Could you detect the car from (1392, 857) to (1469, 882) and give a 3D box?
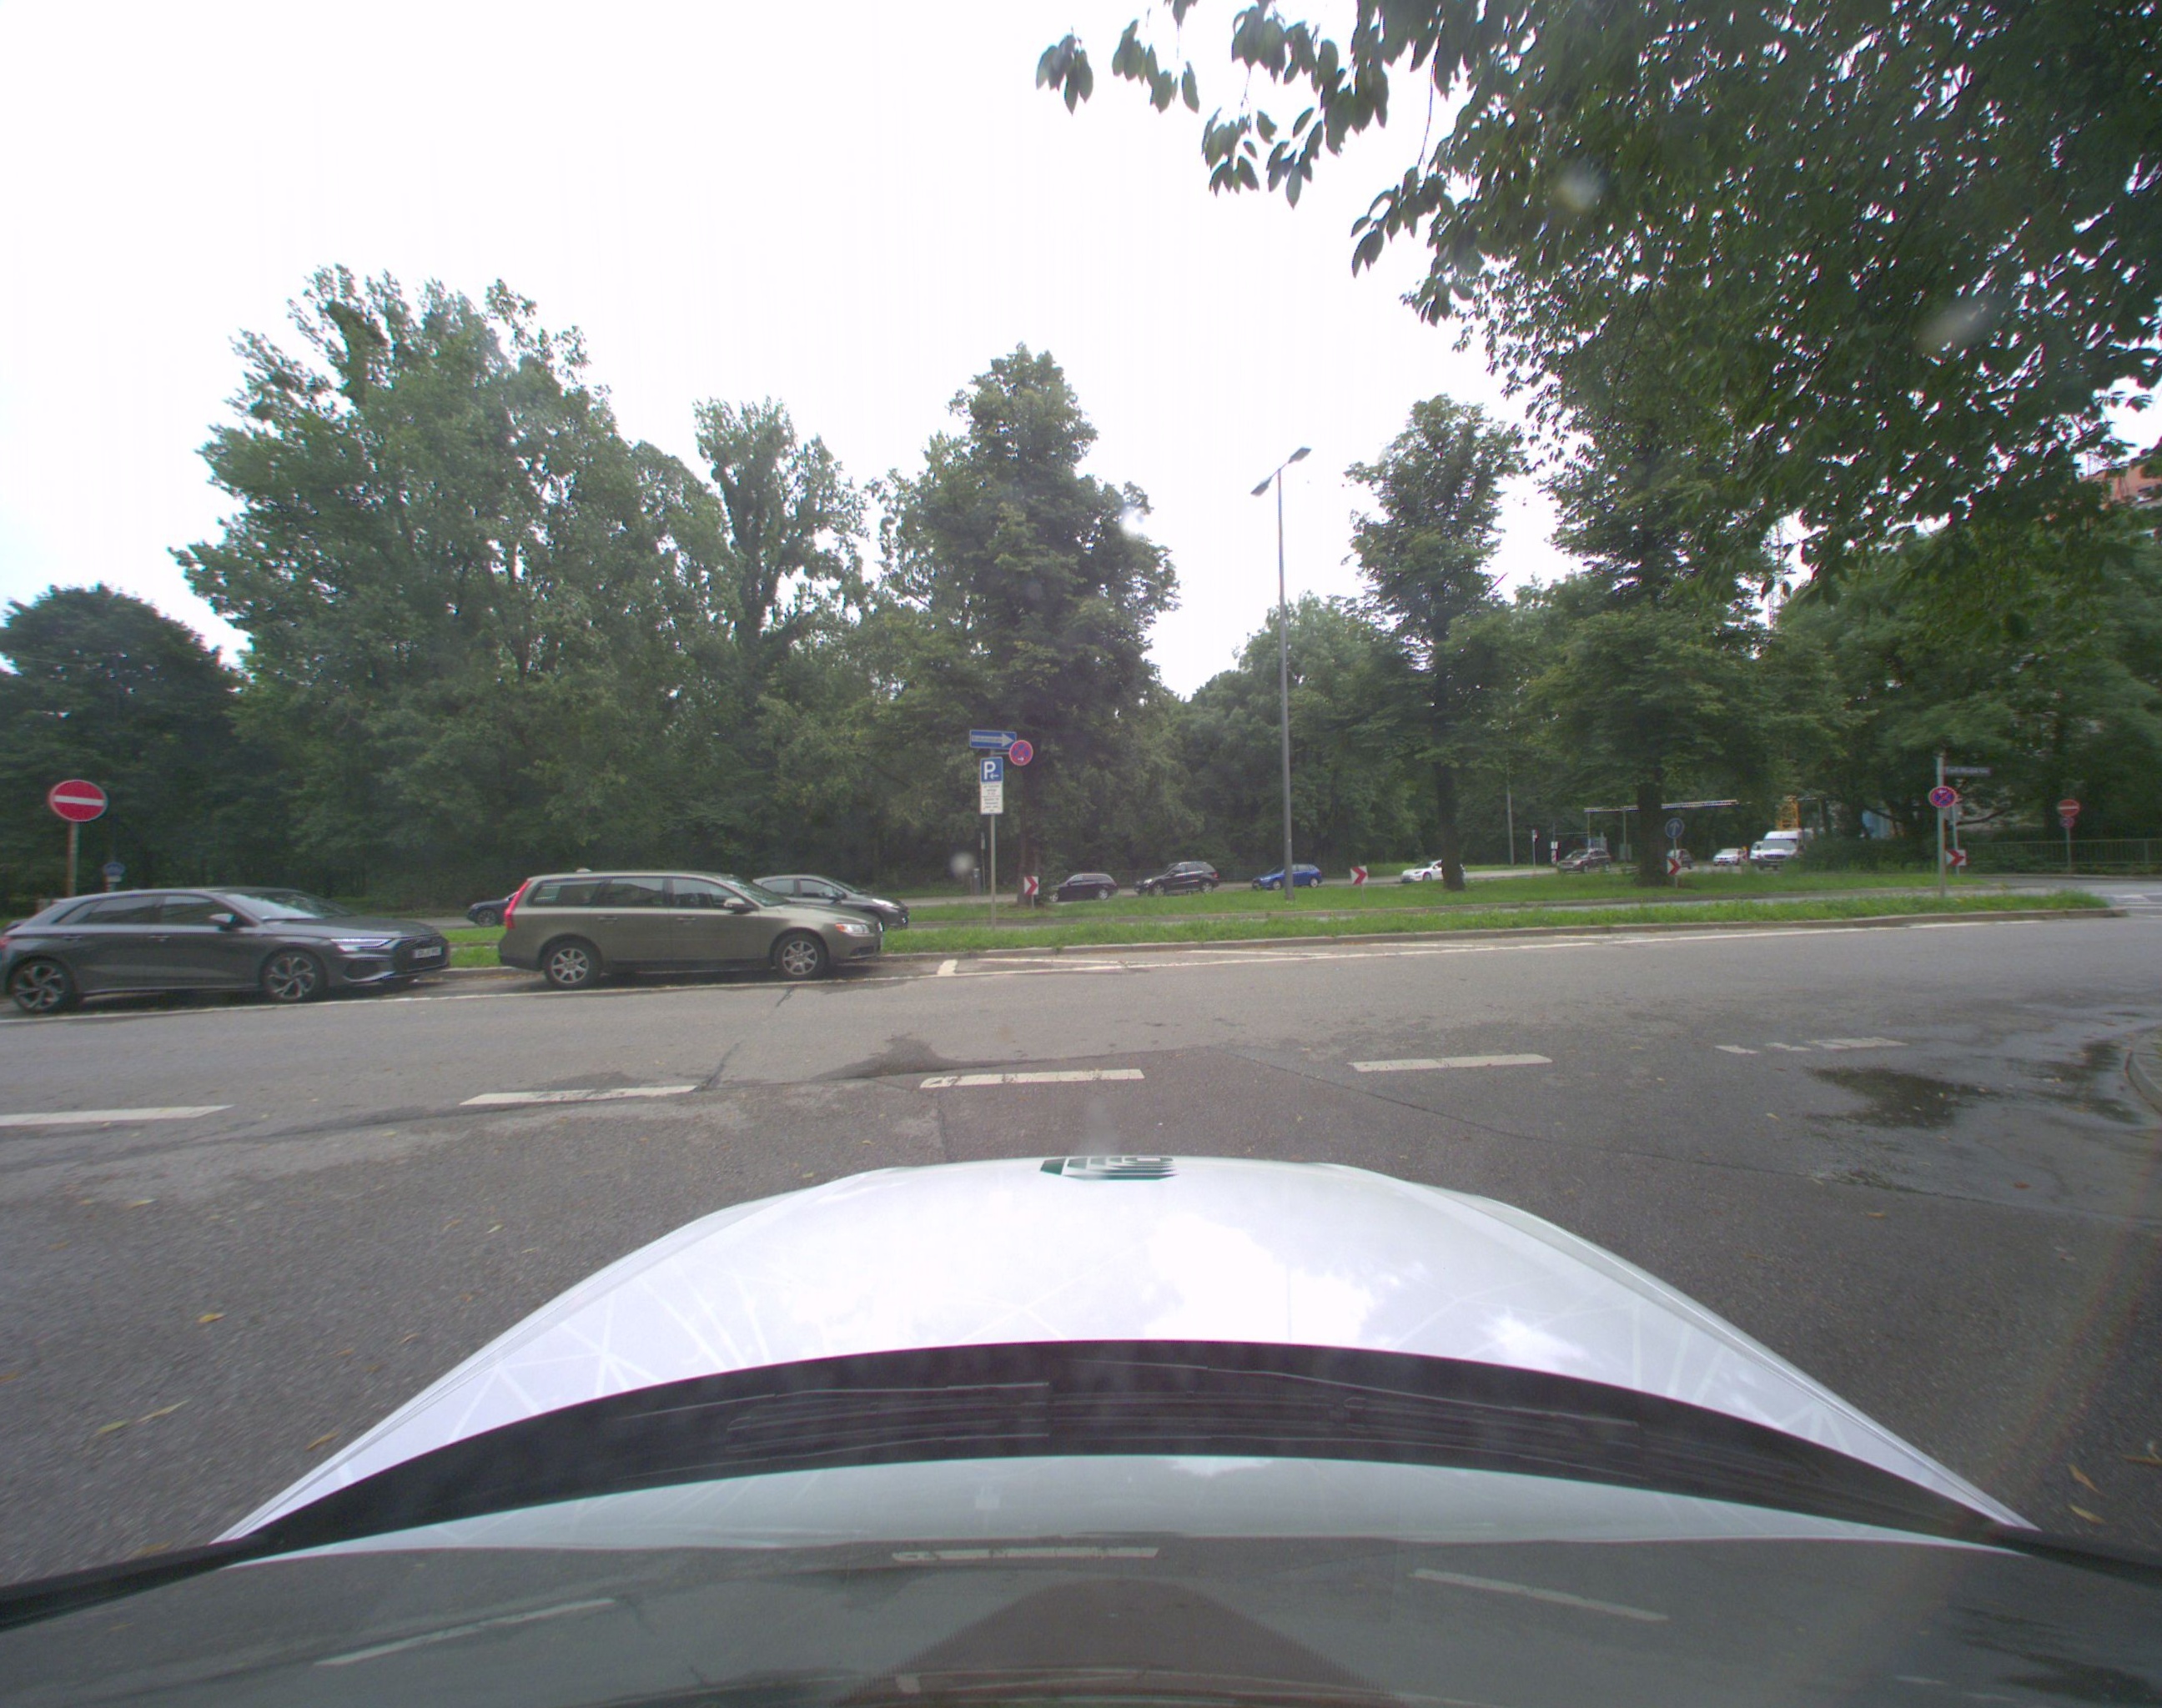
[{"bbox_3d":[22.265,0.990,51.871,4.430,1.447,1.984,-1,-2,-25],"label":"car"}]

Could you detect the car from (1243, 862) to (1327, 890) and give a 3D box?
[{"bbox_3d":[11.879,1.283,47.369,4.430,1.447,1.984,-1,-2,-25],"label":"car"}]

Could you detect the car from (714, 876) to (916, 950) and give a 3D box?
[{"bbox_3d":[-5.878,1.279,18.430,4.058,1.461,1.759,-1,-1,-8],"label":"car"}]

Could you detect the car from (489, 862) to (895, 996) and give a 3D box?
[{"bbox_3d":[-5.146,0.954,11.434,4.752,1.565,1.899,-1,-1,-8],"label":"car"}]

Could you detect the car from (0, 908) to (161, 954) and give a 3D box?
[{"bbox_3d":[-37.328,2.824,29.869,4.315,1.447,1.988,-1,-2,-18],"label":"car"}]

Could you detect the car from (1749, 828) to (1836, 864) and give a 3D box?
[{"bbox_3d":[46.688,-0.532,53.439,5.136,2.270,2.289,-1,-1,-25],"label":"car"}]

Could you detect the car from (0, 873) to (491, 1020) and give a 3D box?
[{"bbox_3d":[-10.498,1.078,10.455,4.266,1.565,1.988,-1,-1,-8],"label":"car"}]

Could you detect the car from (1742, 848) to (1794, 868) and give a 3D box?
[{"bbox_3d":[53.866,0.288,63.820,4.315,1.446,1.878,-1,-2,-32],"label":"car"}]

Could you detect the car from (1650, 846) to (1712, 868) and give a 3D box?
[{"bbox_3d":[43.278,0.236,58.737,4.039,1.446,1.882,-1,-1,-25],"label":"car"}]

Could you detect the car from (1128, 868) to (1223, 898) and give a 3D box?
[{"bbox_3d":[5.152,1.581,44.346,4.774,1.447,1.984,-1,-2,-24],"label":"car"}]

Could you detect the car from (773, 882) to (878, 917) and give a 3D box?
[{"bbox_3d":[-11.798,2.076,37.760,4.522,1.447,1.988,-1,-2,-17],"label":"car"}]

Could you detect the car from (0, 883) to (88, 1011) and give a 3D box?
[{"bbox_3d":[-15.430,1.199,9.667,4.271,1.565,1.986,-1,-1,-12],"label":"car"}]

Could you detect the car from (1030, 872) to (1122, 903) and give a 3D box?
[{"bbox_3d":[-0.247,1.731,42.186,4.323,1.447,1.984,-1,-2,-24],"label":"car"}]

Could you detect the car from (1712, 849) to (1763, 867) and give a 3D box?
[{"bbox_3d":[55.460,0.337,68.824,4.439,1.447,1.979,0,-2,-32],"label":"car"}]

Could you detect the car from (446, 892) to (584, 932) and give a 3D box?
[{"bbox_3d":[-23.606,2.390,34.144,4.315,1.447,1.988,-1,-2,-18],"label":"car"}]

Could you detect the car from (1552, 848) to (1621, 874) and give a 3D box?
[{"bbox_3d":[36.726,0.498,59.157,4.655,1.718,1.984,-1,-2,-25],"label":"car"}]
